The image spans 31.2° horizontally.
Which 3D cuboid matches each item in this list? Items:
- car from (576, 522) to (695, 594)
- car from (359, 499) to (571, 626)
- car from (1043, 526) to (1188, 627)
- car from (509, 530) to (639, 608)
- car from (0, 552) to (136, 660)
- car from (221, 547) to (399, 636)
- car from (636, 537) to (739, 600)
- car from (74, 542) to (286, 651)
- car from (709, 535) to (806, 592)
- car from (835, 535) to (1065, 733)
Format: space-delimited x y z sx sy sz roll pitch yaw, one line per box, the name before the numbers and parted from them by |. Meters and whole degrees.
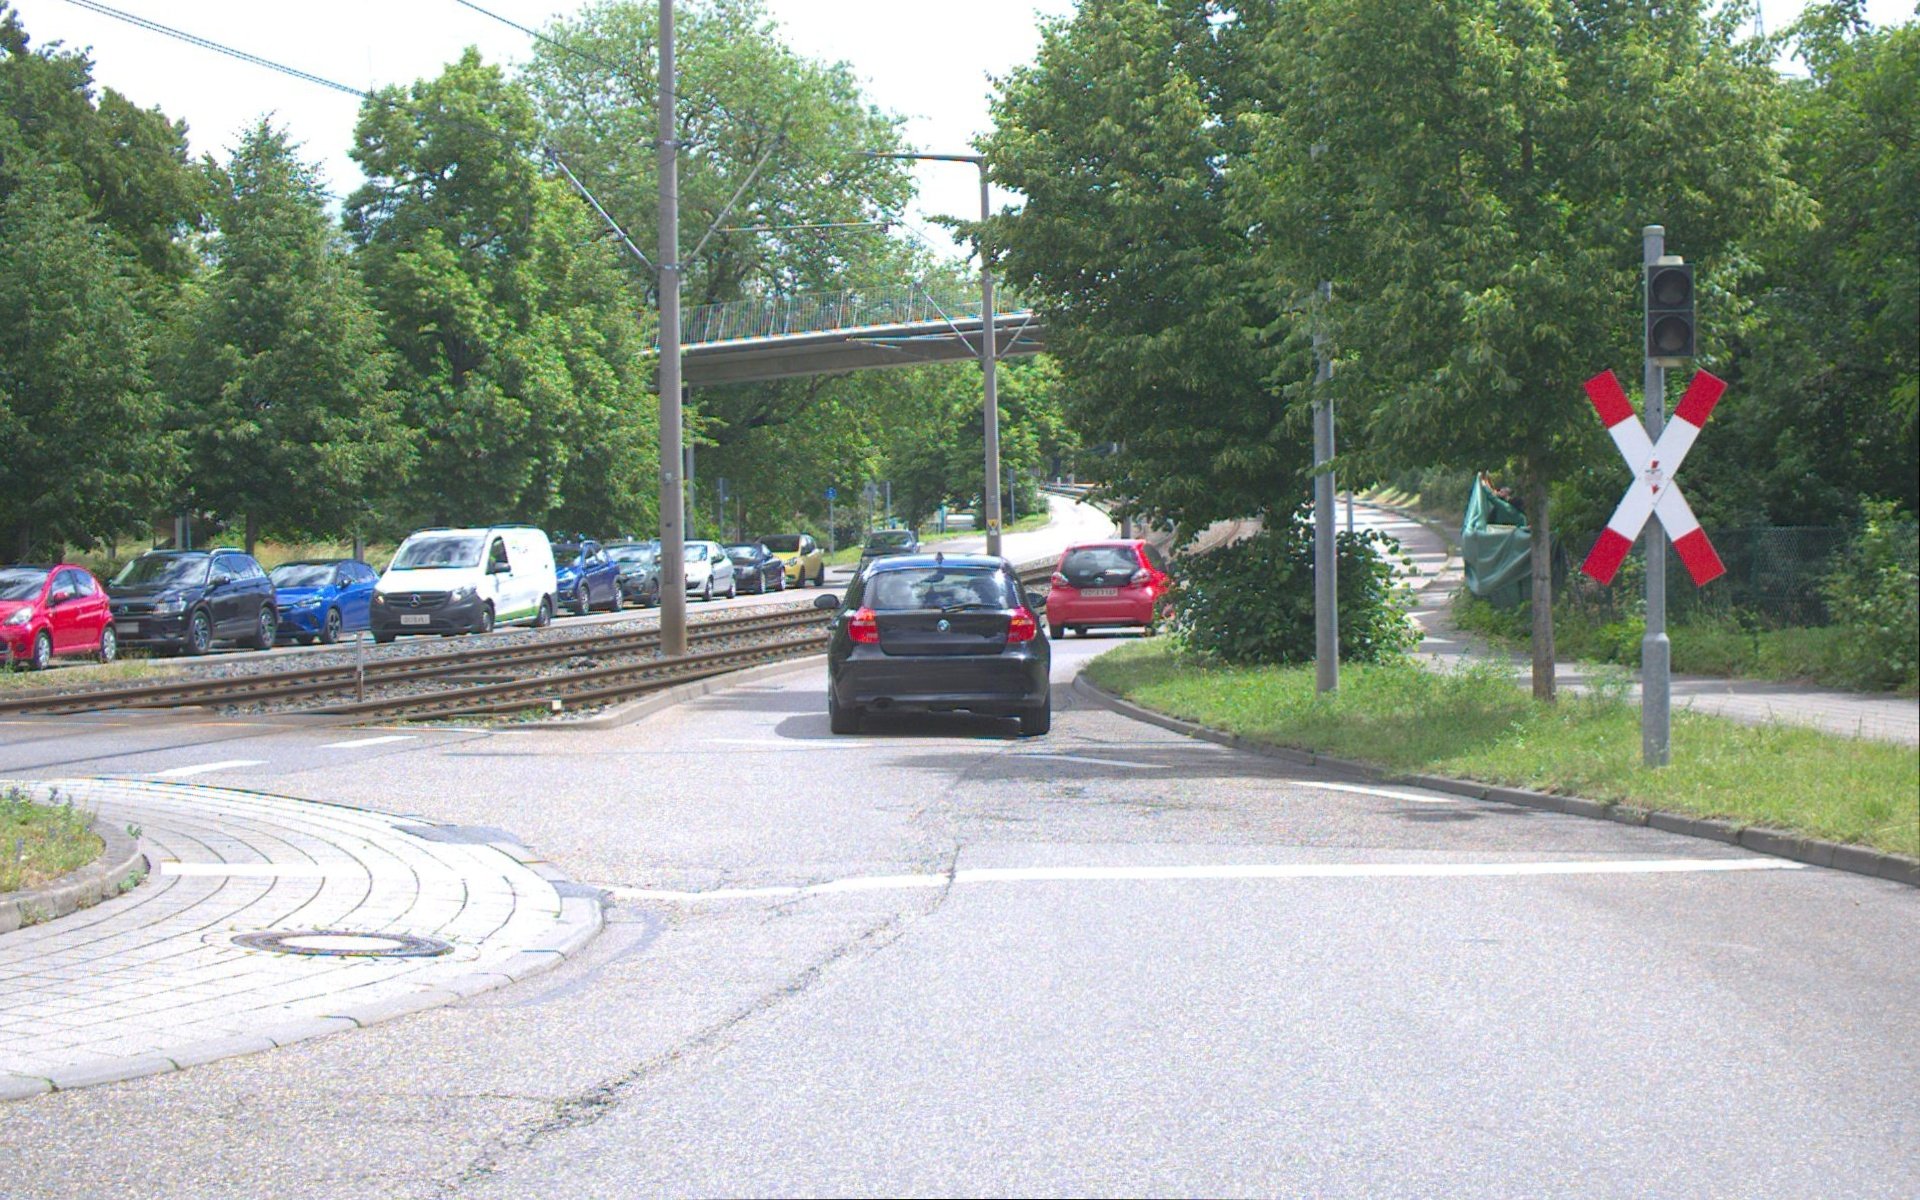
car | -7.444 -0.965 79.151 1.643 1.617 4.124 -1 1 11
car | -8.198 -0.592 57.466 1.876 2.012 5.232 1 0 11
car | 2.360 -0.345 51.558 1.625 1.438 3.419 1 0 12
car | -8.173 -0.639 73.096 1.558 1.590 4.158 1 0 11
car | -13.060 0.080 48.082 1.614 1.446 3.660 1 0 11
car | -11.035 -0.133 58.608 1.614 1.456 4.005 1 0 11
car | -6.683 -0.791 84.637 1.594 1.488 4.191 1 1 9
car | -12.036 -0.042 53.335 1.581 1.600 4.372 1 0 11
car | -5.387 -0.960 91.842 1.690 1.445 3.896 1 0 11
car | -0.144 0.220 27.978 1.708 1.455 3.961 1 1 -2
